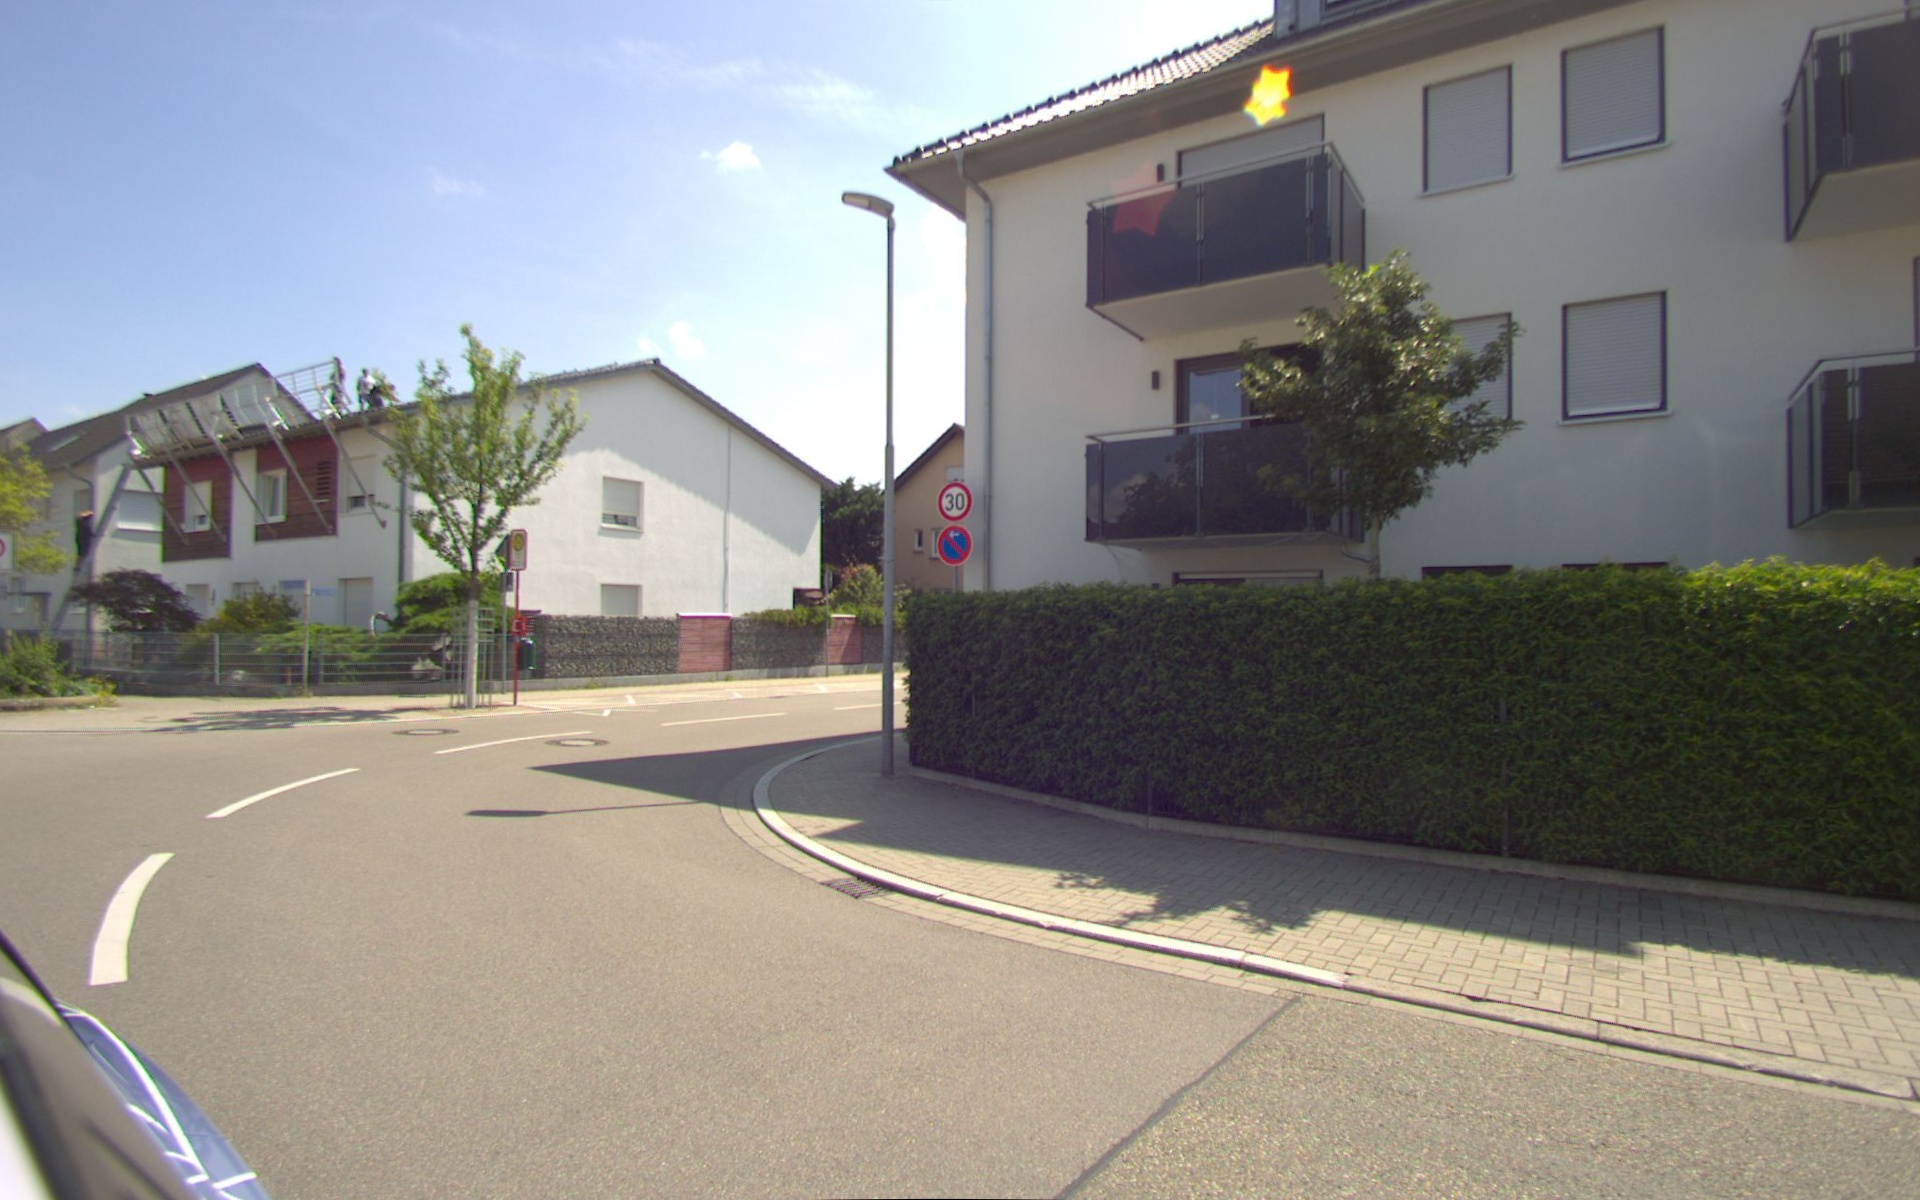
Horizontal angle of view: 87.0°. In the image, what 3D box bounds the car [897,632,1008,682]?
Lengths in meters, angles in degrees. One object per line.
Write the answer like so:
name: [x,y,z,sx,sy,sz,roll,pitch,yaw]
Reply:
car: [-0.175,1.742,31.709,1.717,1.409,3.635,1,-2,33]
